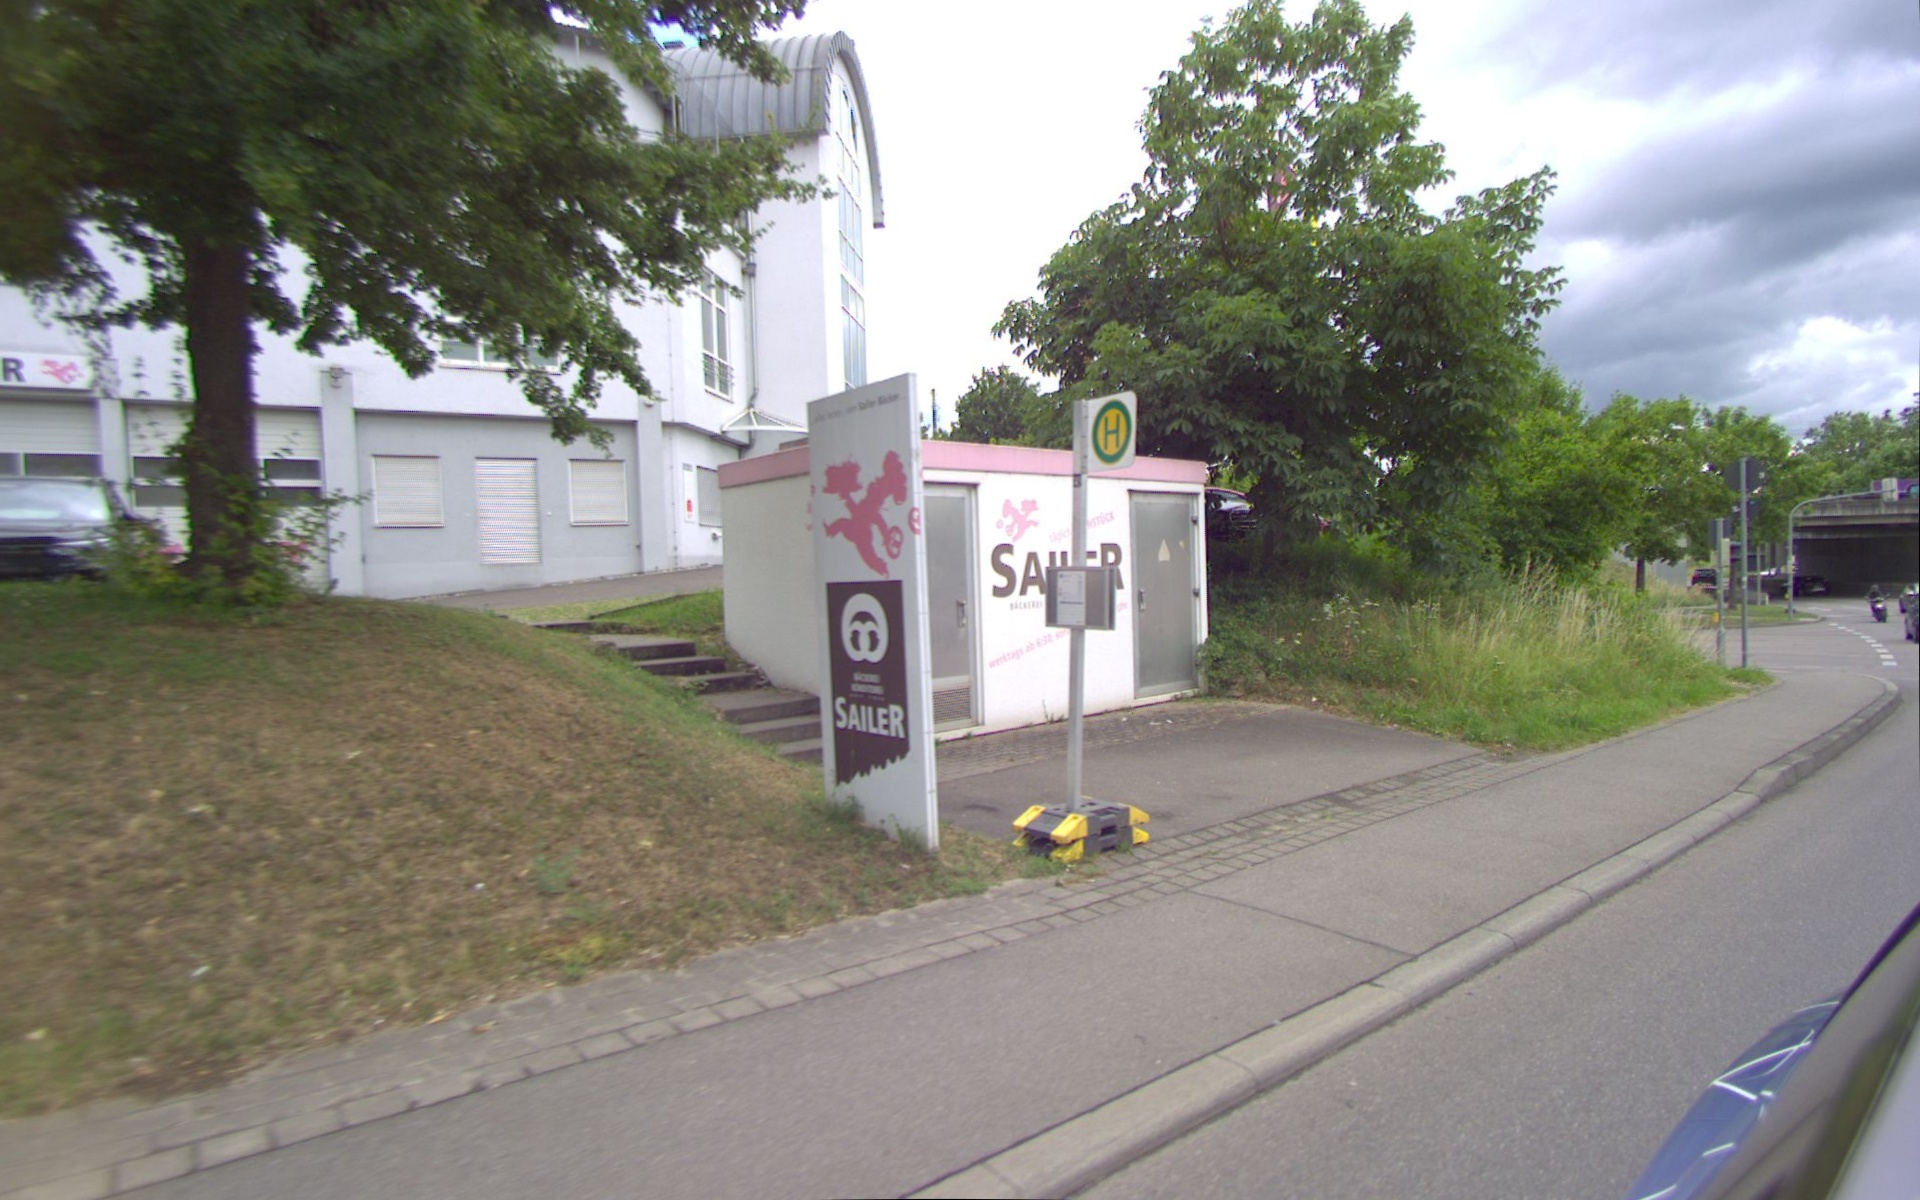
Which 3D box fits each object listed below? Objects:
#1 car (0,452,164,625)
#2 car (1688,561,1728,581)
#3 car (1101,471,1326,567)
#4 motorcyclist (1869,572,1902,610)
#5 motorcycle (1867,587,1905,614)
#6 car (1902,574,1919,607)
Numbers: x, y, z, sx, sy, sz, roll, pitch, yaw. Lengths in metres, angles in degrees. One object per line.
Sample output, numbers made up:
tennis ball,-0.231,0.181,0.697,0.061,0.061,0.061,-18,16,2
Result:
car,-8.324,-0.477,8.817,1.876,1.247,4.052,-3,3,-35
car,70.521,-2.708,95.520,1.942,1.813,3.973,-3,0,21
car,5.439,-1.667,21.780,4.454,1.659,1.820,-3,0,20
motorcyclist,41.133,-0.408,44.990,0.877,1.625,1.228,-3,0,35
motorcycle,41.192,0.008,45.038,0.877,1.118,2.331,-3,0,35
car,47.841,-0.513,49.746,1.750,1.553,4.198,-3,0,37
